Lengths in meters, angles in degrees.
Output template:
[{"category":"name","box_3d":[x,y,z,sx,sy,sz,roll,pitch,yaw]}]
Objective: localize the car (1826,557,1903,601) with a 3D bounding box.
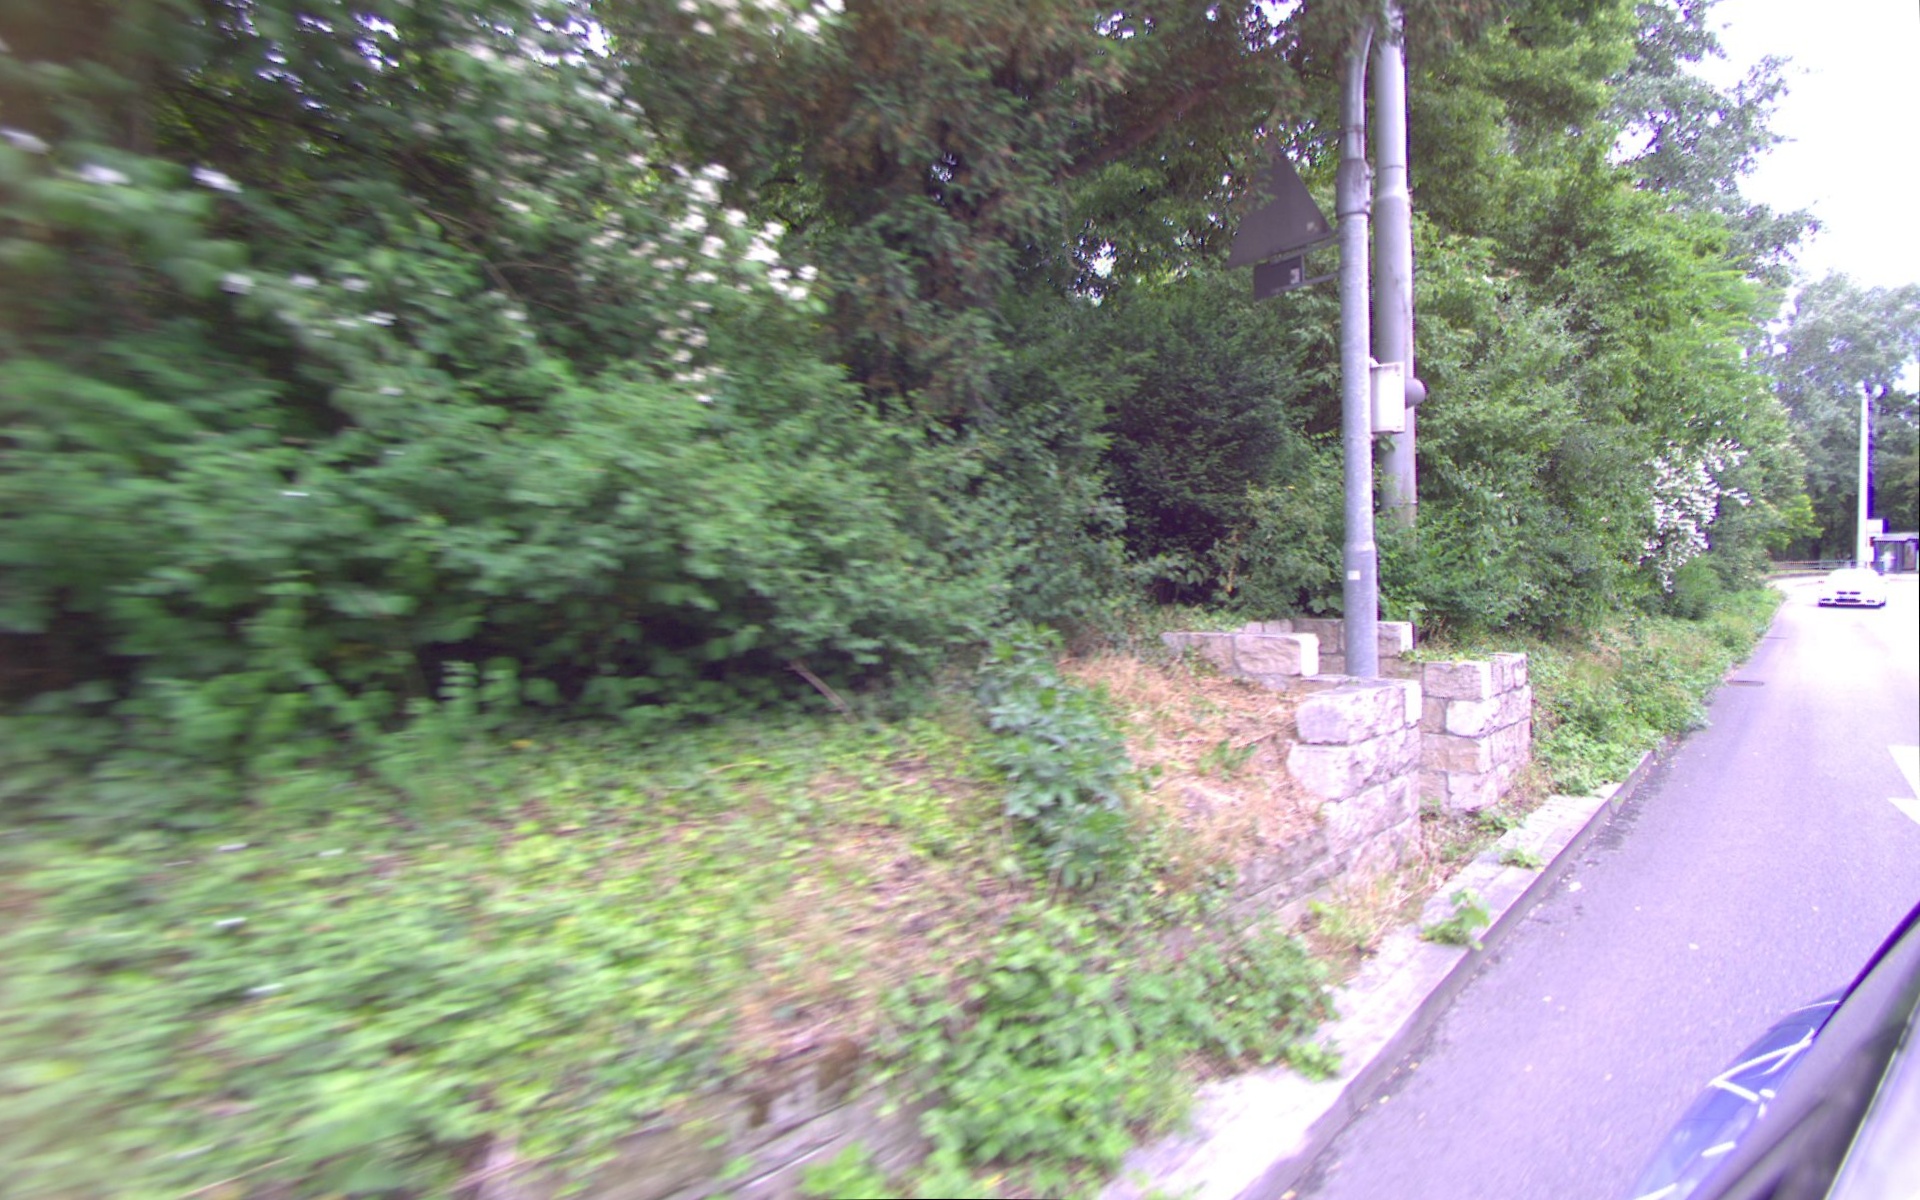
[{"category":"car","box_3d":[35.507,-0.875,39.828,1.908,1.570,4.466,2,4,38]}]
